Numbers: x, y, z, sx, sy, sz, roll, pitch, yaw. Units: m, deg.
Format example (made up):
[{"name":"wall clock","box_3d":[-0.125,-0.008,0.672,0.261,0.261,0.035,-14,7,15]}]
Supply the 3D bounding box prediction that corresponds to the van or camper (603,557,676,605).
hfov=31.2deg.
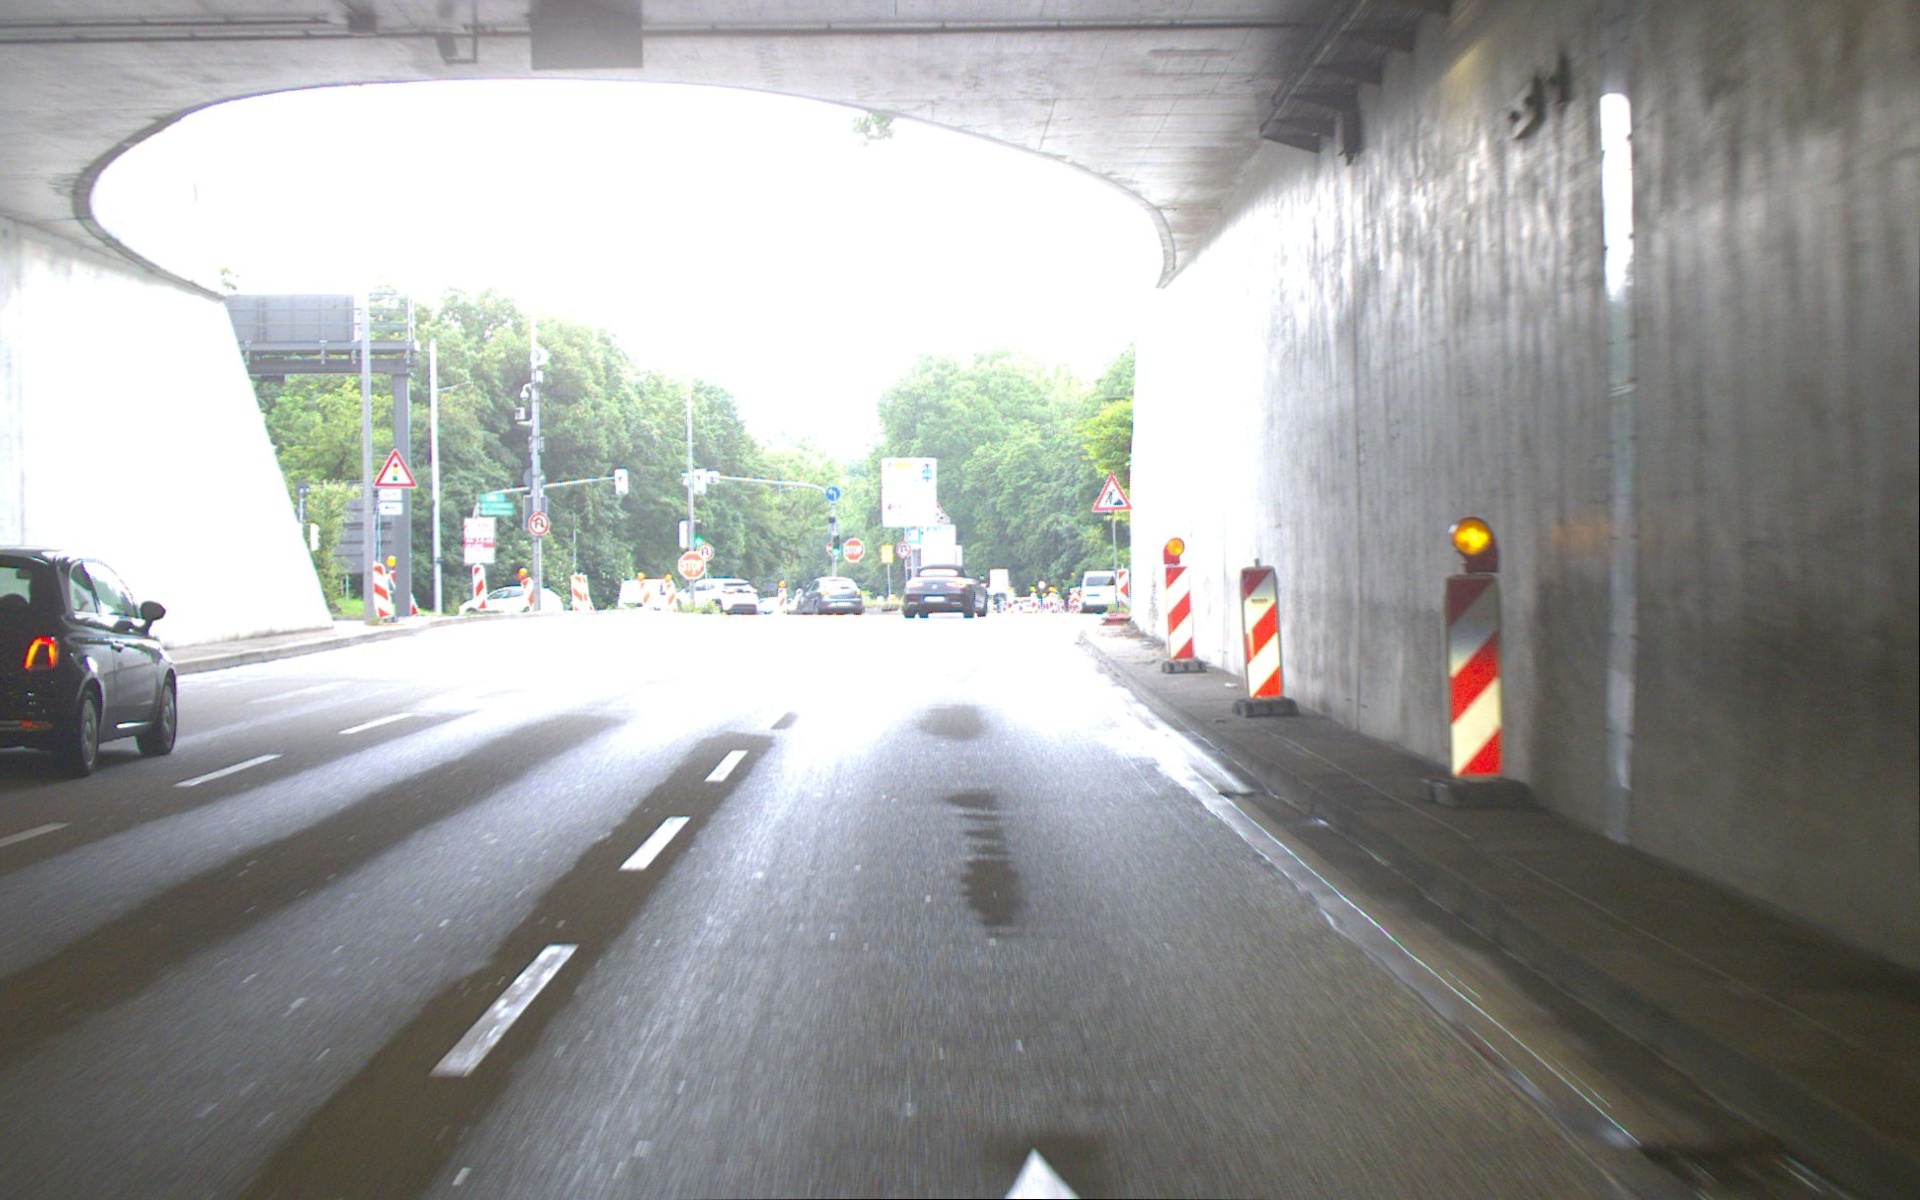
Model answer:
[{"name":"van or camper","box_3d":[-14.398,-0.861,154.893,2.129,2.007,5.313,-3,0,7]}]

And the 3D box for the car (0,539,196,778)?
[{"name":"car","box_3d":[-6.316,0.343,23.143,1.612,1.449,3.573,-1,1,-2]}]

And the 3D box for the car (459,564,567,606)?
[{"name":"car","box_3d":[-18.128,-0.604,139.371,3.994,1.509,1.895,-2,2,32]}]

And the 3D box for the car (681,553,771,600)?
[{"name":"car","box_3d":[-9.001,-0.891,131.840,1.891,1.678,4.000,-4,2,-28]}]

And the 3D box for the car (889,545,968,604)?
[{"name":"car","box_3d":[-0.843,-0.665,91.236,1.993,1.443,4.315,-3,0,-1]}]

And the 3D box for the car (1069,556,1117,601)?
[{"name":"car","box_3d":[6.231,-1.022,161.763,1.993,2.007,4.000,-2,0,-1]}]

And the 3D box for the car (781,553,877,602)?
[{"name":"car","box_3d":[-4.745,-0.828,124.103,1.891,1.678,4.000,-2,1,-27]}]
